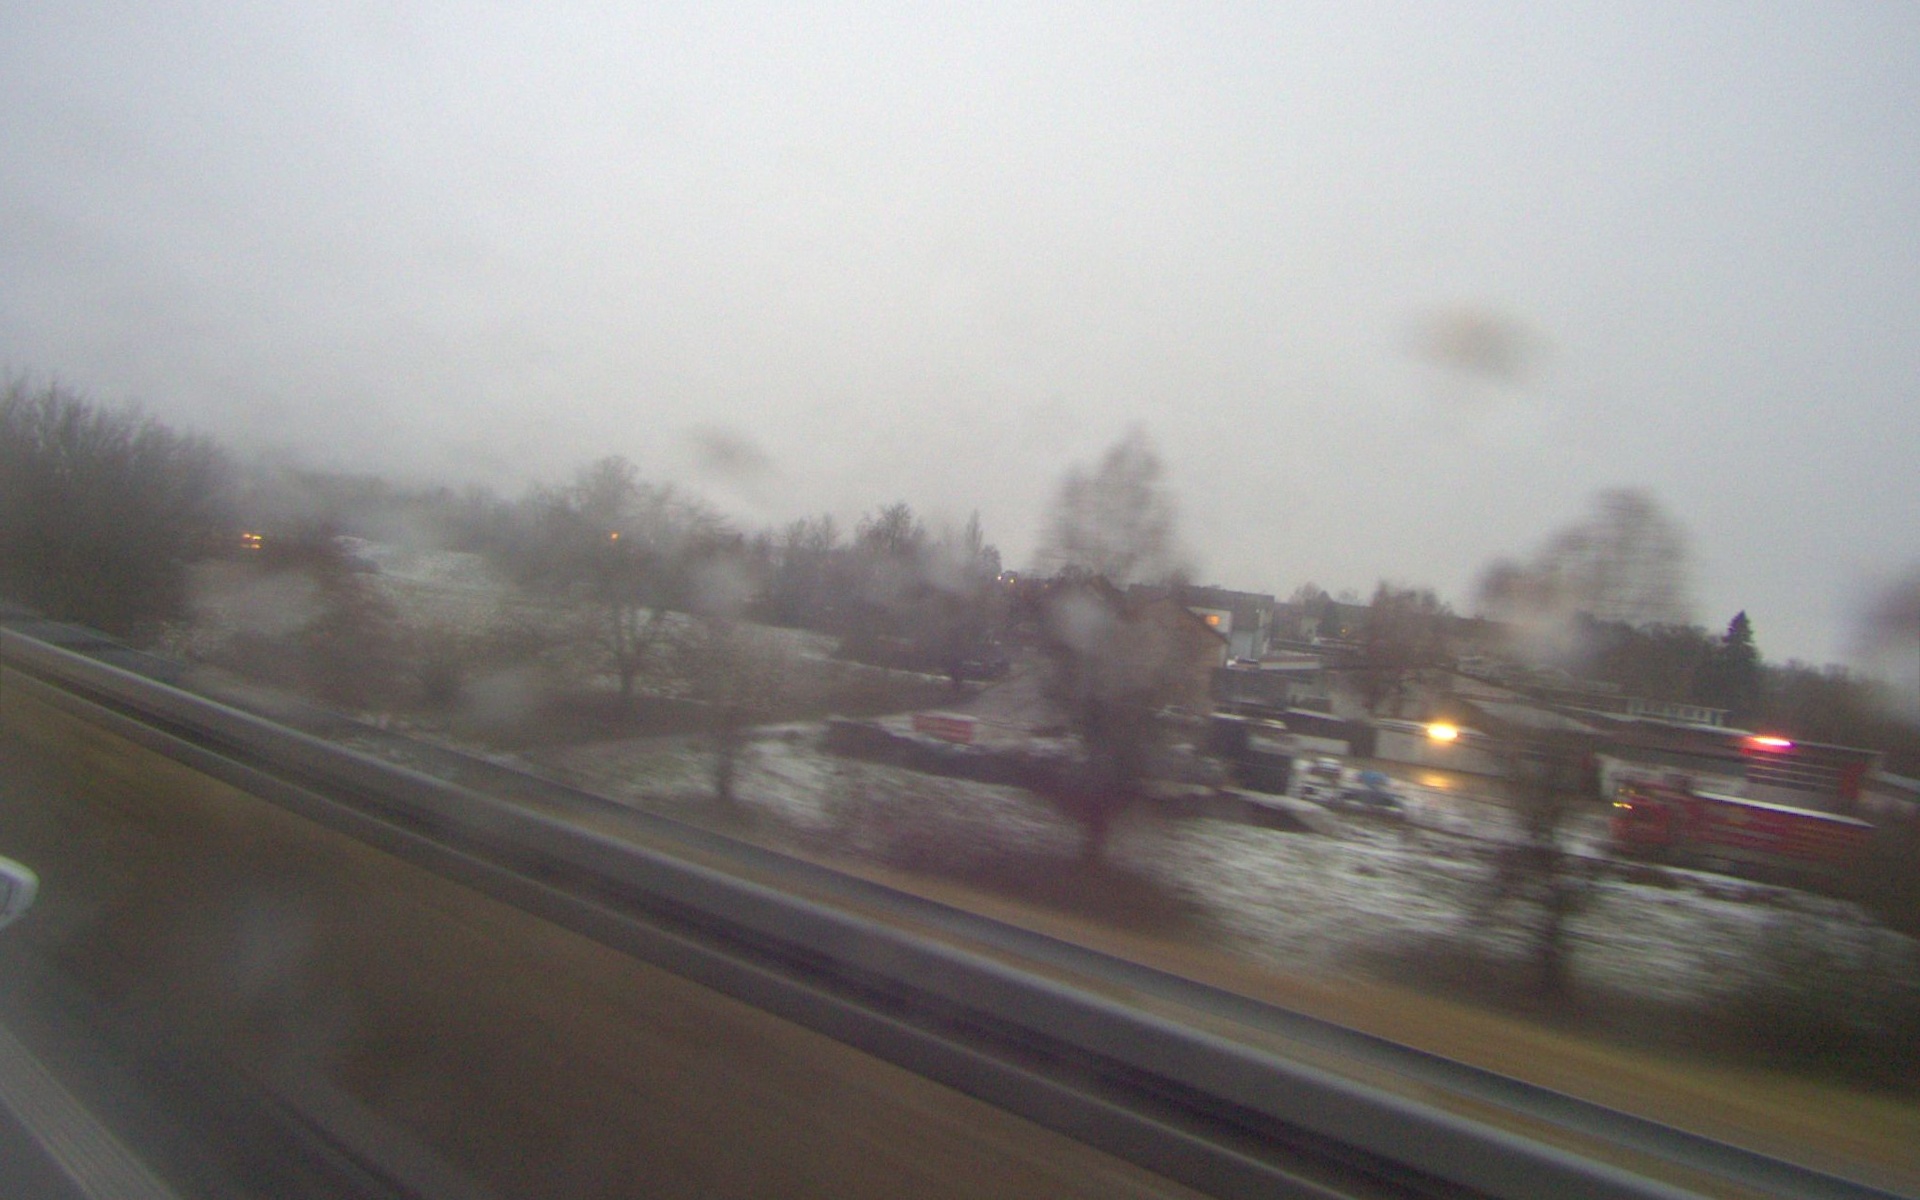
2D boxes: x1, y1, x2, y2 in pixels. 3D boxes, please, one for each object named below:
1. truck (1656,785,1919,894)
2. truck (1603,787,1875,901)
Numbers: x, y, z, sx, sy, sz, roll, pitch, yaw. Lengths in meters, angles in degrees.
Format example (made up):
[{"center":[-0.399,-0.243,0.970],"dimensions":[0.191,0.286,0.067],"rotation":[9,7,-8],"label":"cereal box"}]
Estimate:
[{"center":[42.292,12.161,51.786],"dimensions":[9.965,3.271,2.796],"rotation":[7,-1,21],"label":"truck"},{"center":[38.042,11.858,49.686],"dimensions":[9.965,3.271,2.796],"rotation":[7,-1,21],"label":"truck"}]
